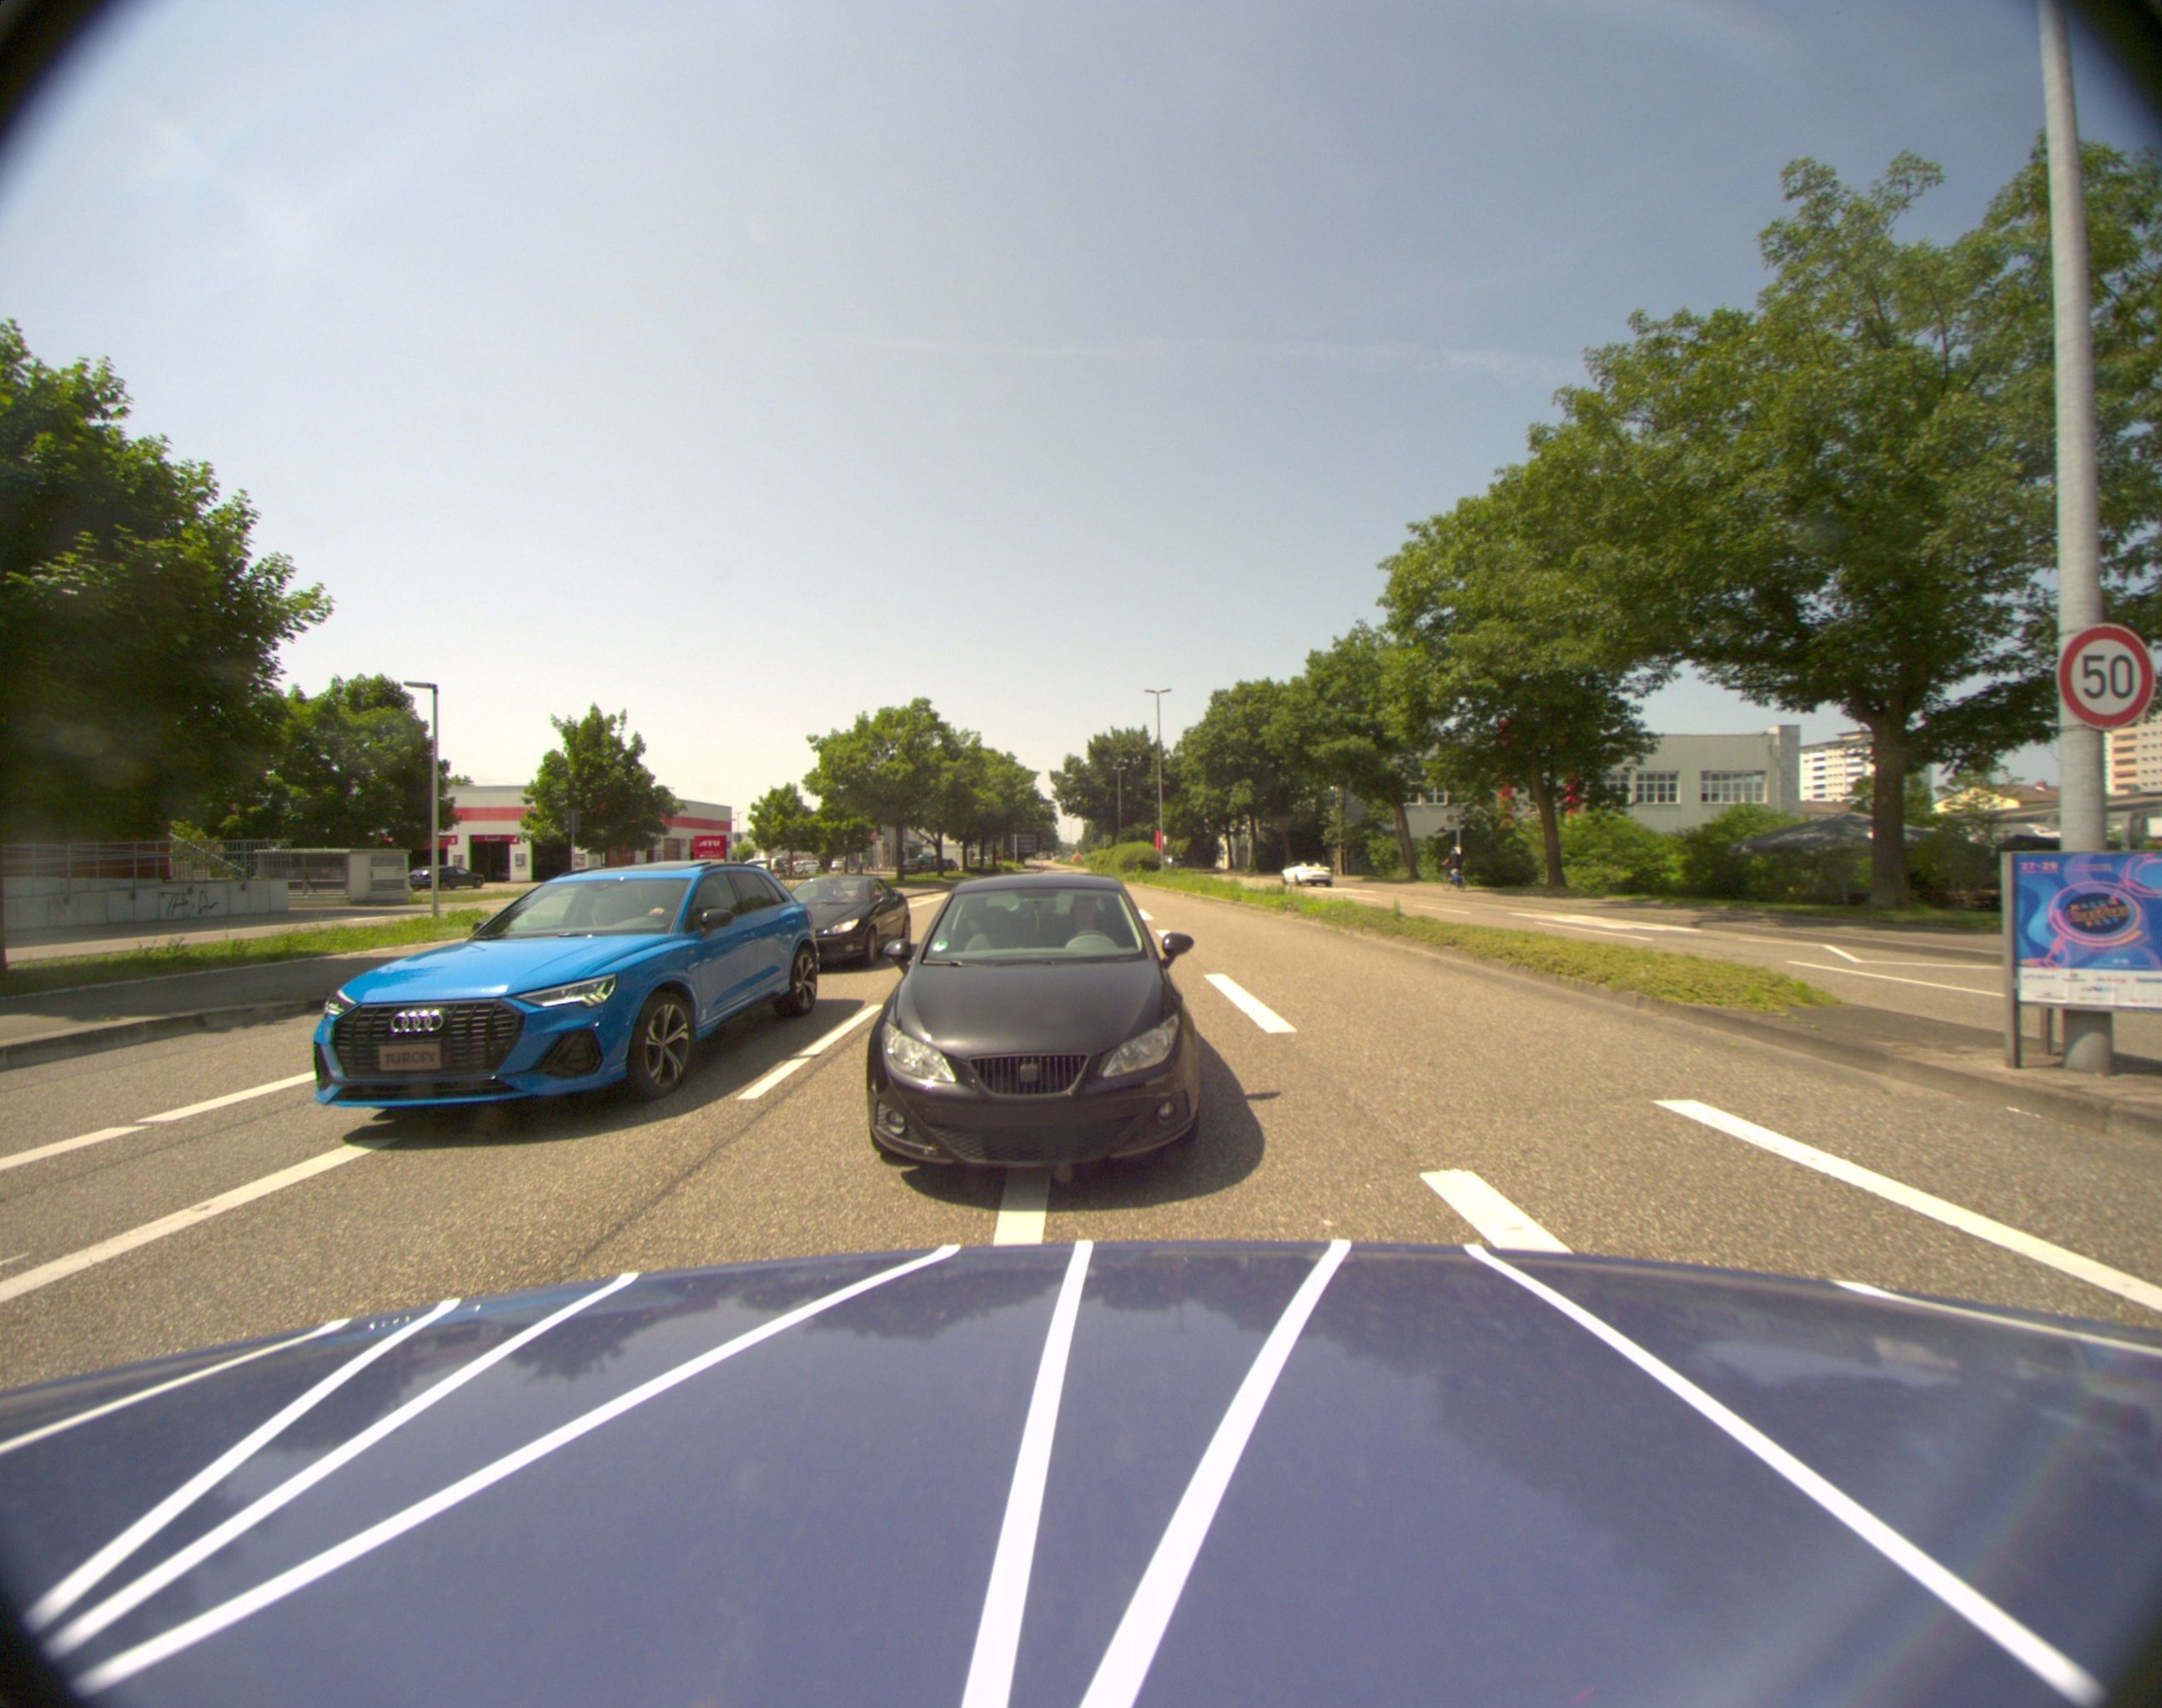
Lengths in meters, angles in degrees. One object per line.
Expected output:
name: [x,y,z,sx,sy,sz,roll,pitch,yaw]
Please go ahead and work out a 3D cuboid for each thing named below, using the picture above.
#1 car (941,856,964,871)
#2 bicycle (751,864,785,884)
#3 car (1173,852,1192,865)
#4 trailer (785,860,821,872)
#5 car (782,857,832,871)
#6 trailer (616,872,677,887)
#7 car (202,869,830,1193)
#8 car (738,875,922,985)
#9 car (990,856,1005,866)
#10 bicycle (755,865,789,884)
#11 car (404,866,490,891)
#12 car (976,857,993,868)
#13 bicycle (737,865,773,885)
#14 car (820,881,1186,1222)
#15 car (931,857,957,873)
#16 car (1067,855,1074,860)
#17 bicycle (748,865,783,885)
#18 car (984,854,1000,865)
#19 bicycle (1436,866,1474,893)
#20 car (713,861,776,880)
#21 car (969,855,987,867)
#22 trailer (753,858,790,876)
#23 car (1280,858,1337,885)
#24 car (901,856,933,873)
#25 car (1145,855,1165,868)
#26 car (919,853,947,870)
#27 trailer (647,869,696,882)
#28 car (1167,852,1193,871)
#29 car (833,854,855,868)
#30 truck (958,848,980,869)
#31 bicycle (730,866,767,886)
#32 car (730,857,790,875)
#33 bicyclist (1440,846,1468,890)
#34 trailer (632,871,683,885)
car: [-13.551,0.985,80.348,1.719,1.504,4.000,0,0,1]
bicycle: [-18.287,1.181,44.435,1.784,1.117,0.514,0,0,-6]
car: [11.972,0.565,89.610,1.710,1.444,3.891,2,0,0]
trailer: [-24.616,1.056,67.319,2.642,1.046,1.578,0,0,-2]
car: [-25.076,0.917,69.673,3.998,1.293,1.689,0,0,-3]
trailer: [-23.617,1.365,41.336,2.467,0.757,1.449,-1,0,1]
car: [-3.722,0.986,6.235,1.842,1.586,4.400,-1,0,0]
car: [-3.856,1.094,12.395,1.642,1.336,4.000,-3,0,0]
car: [-13.003,1.081,118.508,1.719,1.458,4.000,0,0,1]
bicycle: [-18.377,1.202,45.154,1.784,1.117,0.514,0,0,-6]
car: [-38.159,1.438,45.893,1.717,1.364,4.145,0,0,0]
car: [-13.265,1.187,104.676,1.719,1.458,4.000,0,0,1]
bicycle: [-18.464,1.197,43.049,1.784,1.117,0.514,0,0,-6]
car: [-0.366,0.962,5.435,1.642,1.395,4.000,0,0,-1]
car: [-13.325,1.015,74.174,1.719,1.511,4.000,0,0,1]
car: [-3.304,1.035,235.940,1.999,1.692,4.000,0,0,0]
bicycle: [-18.192,1.218,43.795,1.784,1.117,0.514,0,0,-6]
car: [-13.118,0.806,112.180,1.719,1.458,4.000,0,0,1]
bicycle: [15.230,1.024,30.989,0.656,1.045,1.884,-1,0,1]
car: [-25.500,1.240,57.728,3.998,1.394,1.747,0,0,-2]
car: [-13.298,0.878,97.912,1.719,1.458,4.000,0,0,1]
trailer: [-27.310,1.141,67.137,2.642,1.518,1.415,0,0,-2]
car: [12.074,0.914,40.673,1.722,1.255,4.301,2,0,0]
car: [-13.507,0.824,62.773,1.642,1.363,4.000,0,0,1]
car: [8.124,0.795,83.610,1.683,1.331,3.999,2,0,-1]
car: [-13.421,0.669,69.000,1.719,1.458,4.000,0,0,1]
trailer: [-24.157,1.264,44.872,2.137,0.757,1.394,-1,0,1]
car: [8.947,0.678,68.763,1.691,1.591,3.884,2,0,-1]
car: [-27.412,0.808,88.047,1.759,1.586,3.997,0,0,-7]
truck: [-13.532,0.533,92.076,1.904,2.552,4.000,0,0,2]
bicycle: [-18.549,1.214,42.423,1.784,1.117,0.514,0,0,-6]
car: [-25.272,0.933,59.957,3.998,1.394,1.747,0,0,-3]
bicyclist: [15.210,0.581,31.003,0.651,1.759,0.927,-1,1,0]
trailer: [-24.045,1.359,43.190,2.137,0.757,1.267,-1,0,1]
